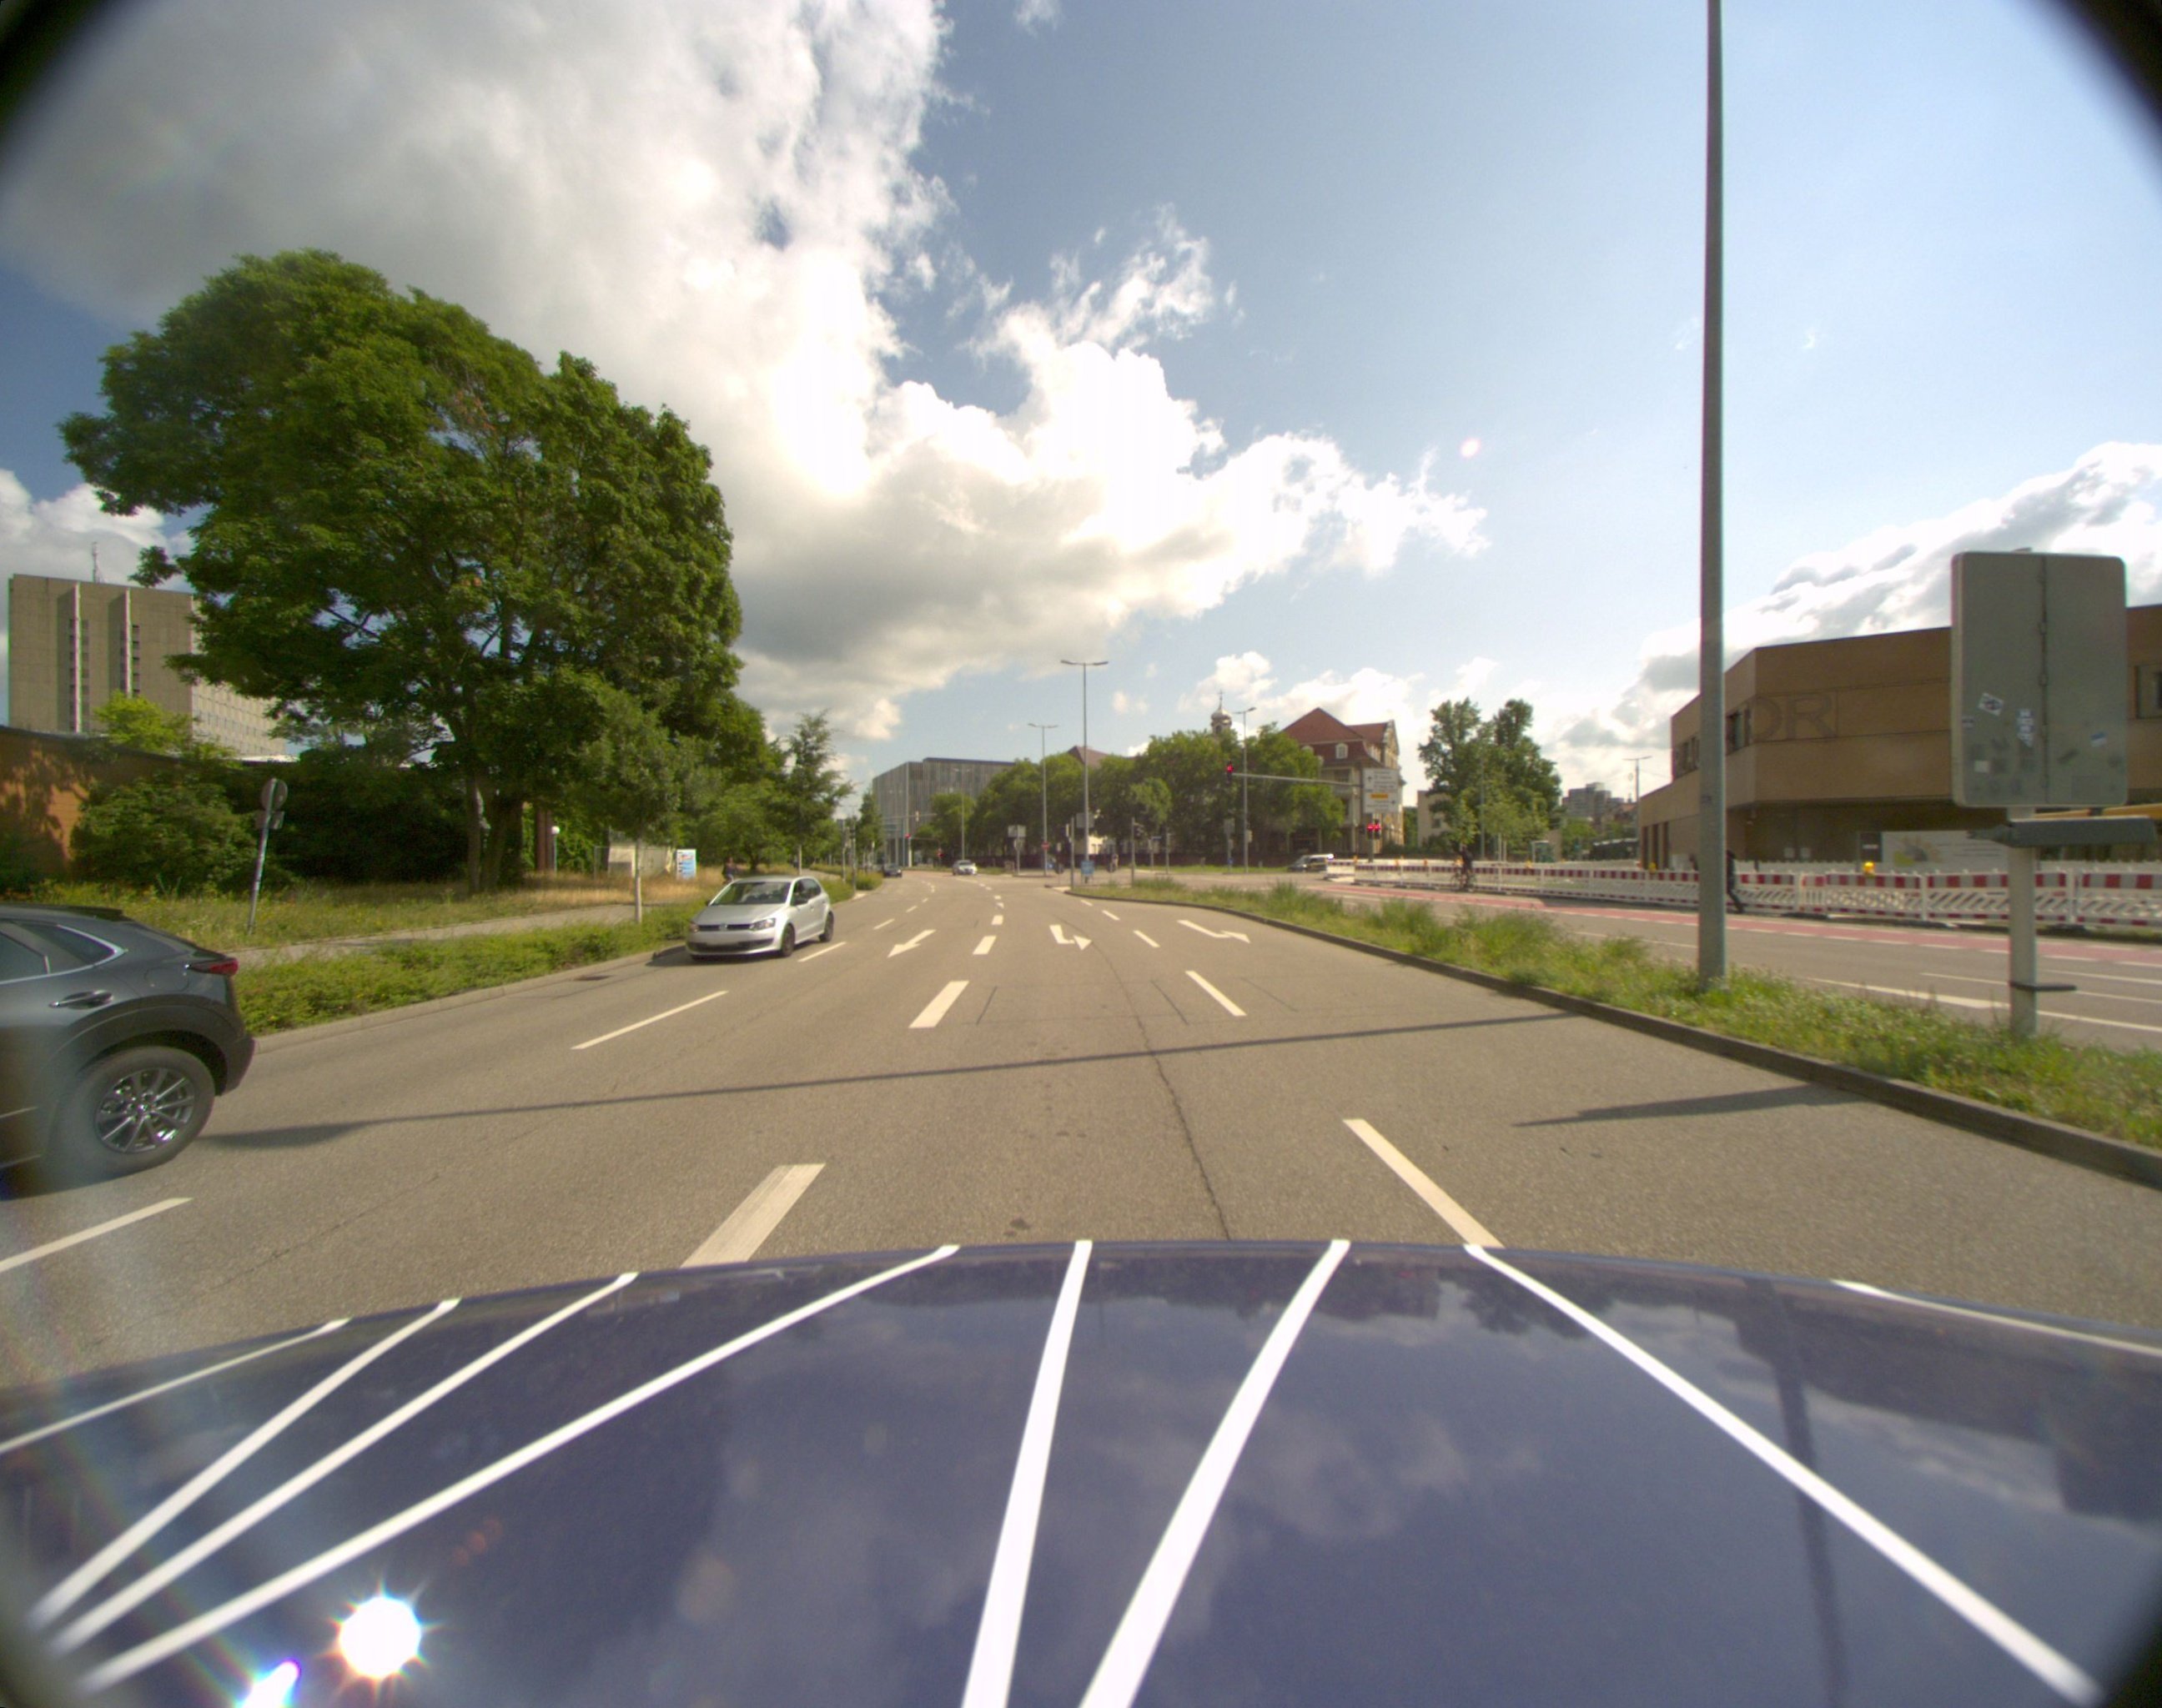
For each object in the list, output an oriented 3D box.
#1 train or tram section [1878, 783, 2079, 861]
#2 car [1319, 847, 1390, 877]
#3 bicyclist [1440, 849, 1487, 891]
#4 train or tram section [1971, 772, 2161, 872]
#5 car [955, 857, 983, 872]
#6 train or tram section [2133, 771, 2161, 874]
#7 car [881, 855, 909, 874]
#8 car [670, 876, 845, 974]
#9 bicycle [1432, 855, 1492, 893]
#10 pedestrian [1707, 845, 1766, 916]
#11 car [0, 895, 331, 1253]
[{"bbox_3d":[46.389,-1.596,39.875,3.316,3.461,10.626,-2,1,30],"label":"train or tram section"},{"bbox_3d":[16.692,0.487,46.308,3.990,1.772,2.003,0,0,22],"label":"car"},{"bbox_3d":[14.855,0.606,29.560,0.778,1.554,1.774,-1,0,-9],"label":"bicyclist"},{"bbox_3d":[41.188,-1.293,30.708,3.316,3.461,10.626,-2,1,30],"label":"train or tram section"},{"bbox_3d":[-11.327,1.025,76.506,1.834,1.516,3.992,0,0,-24],"label":"car"},{"bbox_3d":[35.940,-0.987,21.371,3.316,3.461,10.626,-2,1,30],"label":"train or tram section"},{"bbox_3d":[-18.171,1.030,74.123,2.002,1.745,3.993,-3,1,-22],"label":"car"},{"bbox_3d":[-5.911,1.214,14.453,1.587,1.377,4.077,-2,1,-1],"label":"car"},{"bbox_3d":[14.804,0.754,29.592,0.973,1.402,2.292,-1,0,-8],"label":"bicycle"},{"bbox_3d":[16.659,0.665,19.323,0.652,1.754,1.001,-1,0,1],"label":"pedestrian"},{"bbox_3d":[-5.877,1.109,2.951,1.645,1.567,4.211,-2,1,1],"label":"car"}]
